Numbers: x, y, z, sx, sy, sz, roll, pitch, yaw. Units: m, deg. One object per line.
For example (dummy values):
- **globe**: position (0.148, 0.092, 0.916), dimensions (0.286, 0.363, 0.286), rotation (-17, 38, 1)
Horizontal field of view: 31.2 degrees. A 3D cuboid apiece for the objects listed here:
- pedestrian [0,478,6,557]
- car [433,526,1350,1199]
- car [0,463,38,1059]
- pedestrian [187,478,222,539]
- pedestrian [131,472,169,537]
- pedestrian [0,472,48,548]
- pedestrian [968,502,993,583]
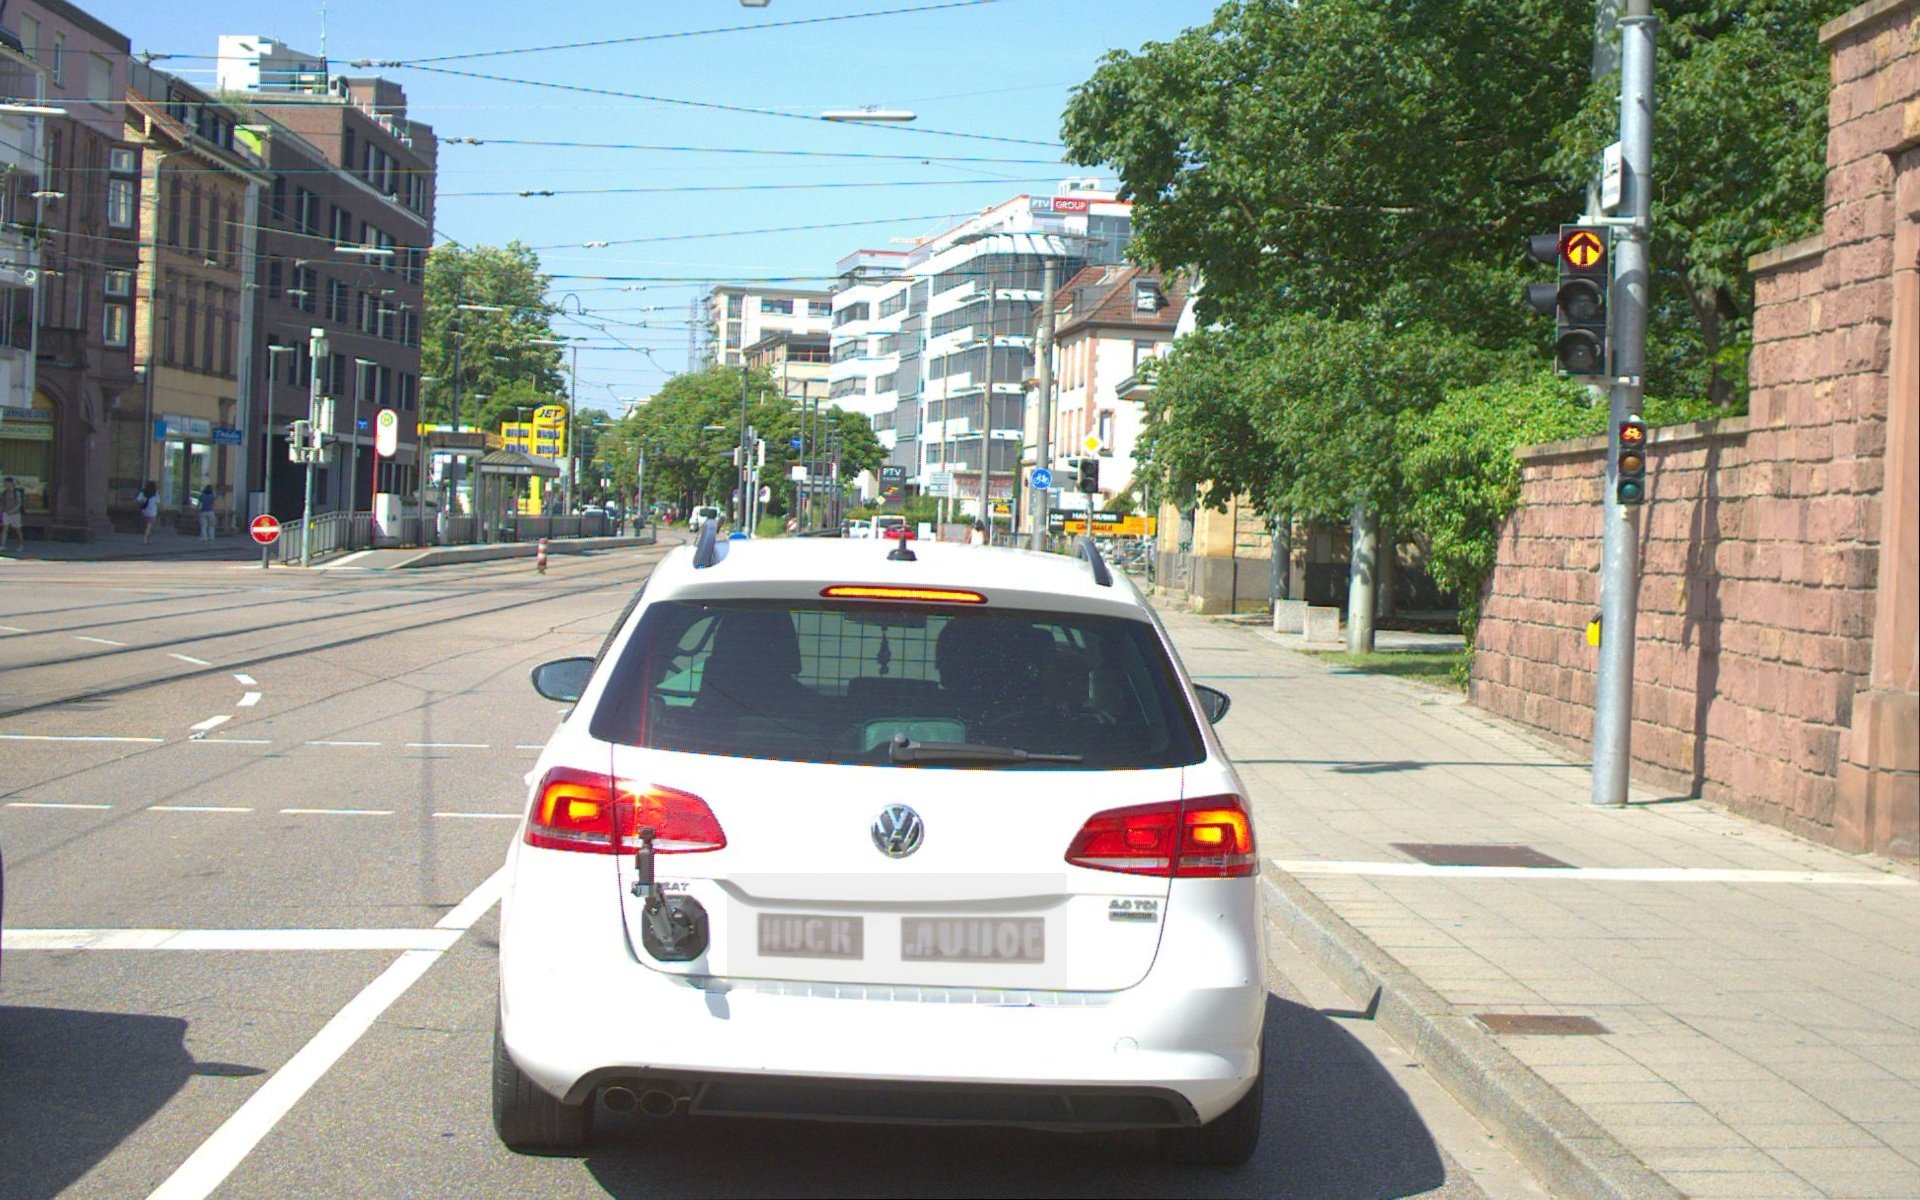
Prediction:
- **pedestrian**: position (-21.784, -1.833, 76.064), dimensions (0.864, 1.737, 0.972), rotation (1, 0, 44)
- **car**: position (-0.167, 0.563, 8.918), dimensions (1.808, 1.443, 4.000), rotation (2, 1, -1)
- **car**: position (-3.307, 0.471, 7.446), dimensions (1.642, 1.561, 3.804), rotation (1, 2, -1)
- **pedestrian**: position (-21.759, -2.628, 99.048), dimensions (0.861, 1.737, 0.975), rotation (1, 0, -6)
- **pedestrian**: position (-21.942, -2.587, 93.151), dimensions (0.861, 1.737, 0.975), rotation (1, 0, -6)
- **pedestrian**: position (-21.814, -2.096, 79.985), dimensions (0.862, 1.737, 0.975), rotation (1, 0, 4)
- **pedestrian**: position (0.605, -1.672, 100.328), dimensions (0.690, 2.317, 1.232), rotation (1, 0, 1)
